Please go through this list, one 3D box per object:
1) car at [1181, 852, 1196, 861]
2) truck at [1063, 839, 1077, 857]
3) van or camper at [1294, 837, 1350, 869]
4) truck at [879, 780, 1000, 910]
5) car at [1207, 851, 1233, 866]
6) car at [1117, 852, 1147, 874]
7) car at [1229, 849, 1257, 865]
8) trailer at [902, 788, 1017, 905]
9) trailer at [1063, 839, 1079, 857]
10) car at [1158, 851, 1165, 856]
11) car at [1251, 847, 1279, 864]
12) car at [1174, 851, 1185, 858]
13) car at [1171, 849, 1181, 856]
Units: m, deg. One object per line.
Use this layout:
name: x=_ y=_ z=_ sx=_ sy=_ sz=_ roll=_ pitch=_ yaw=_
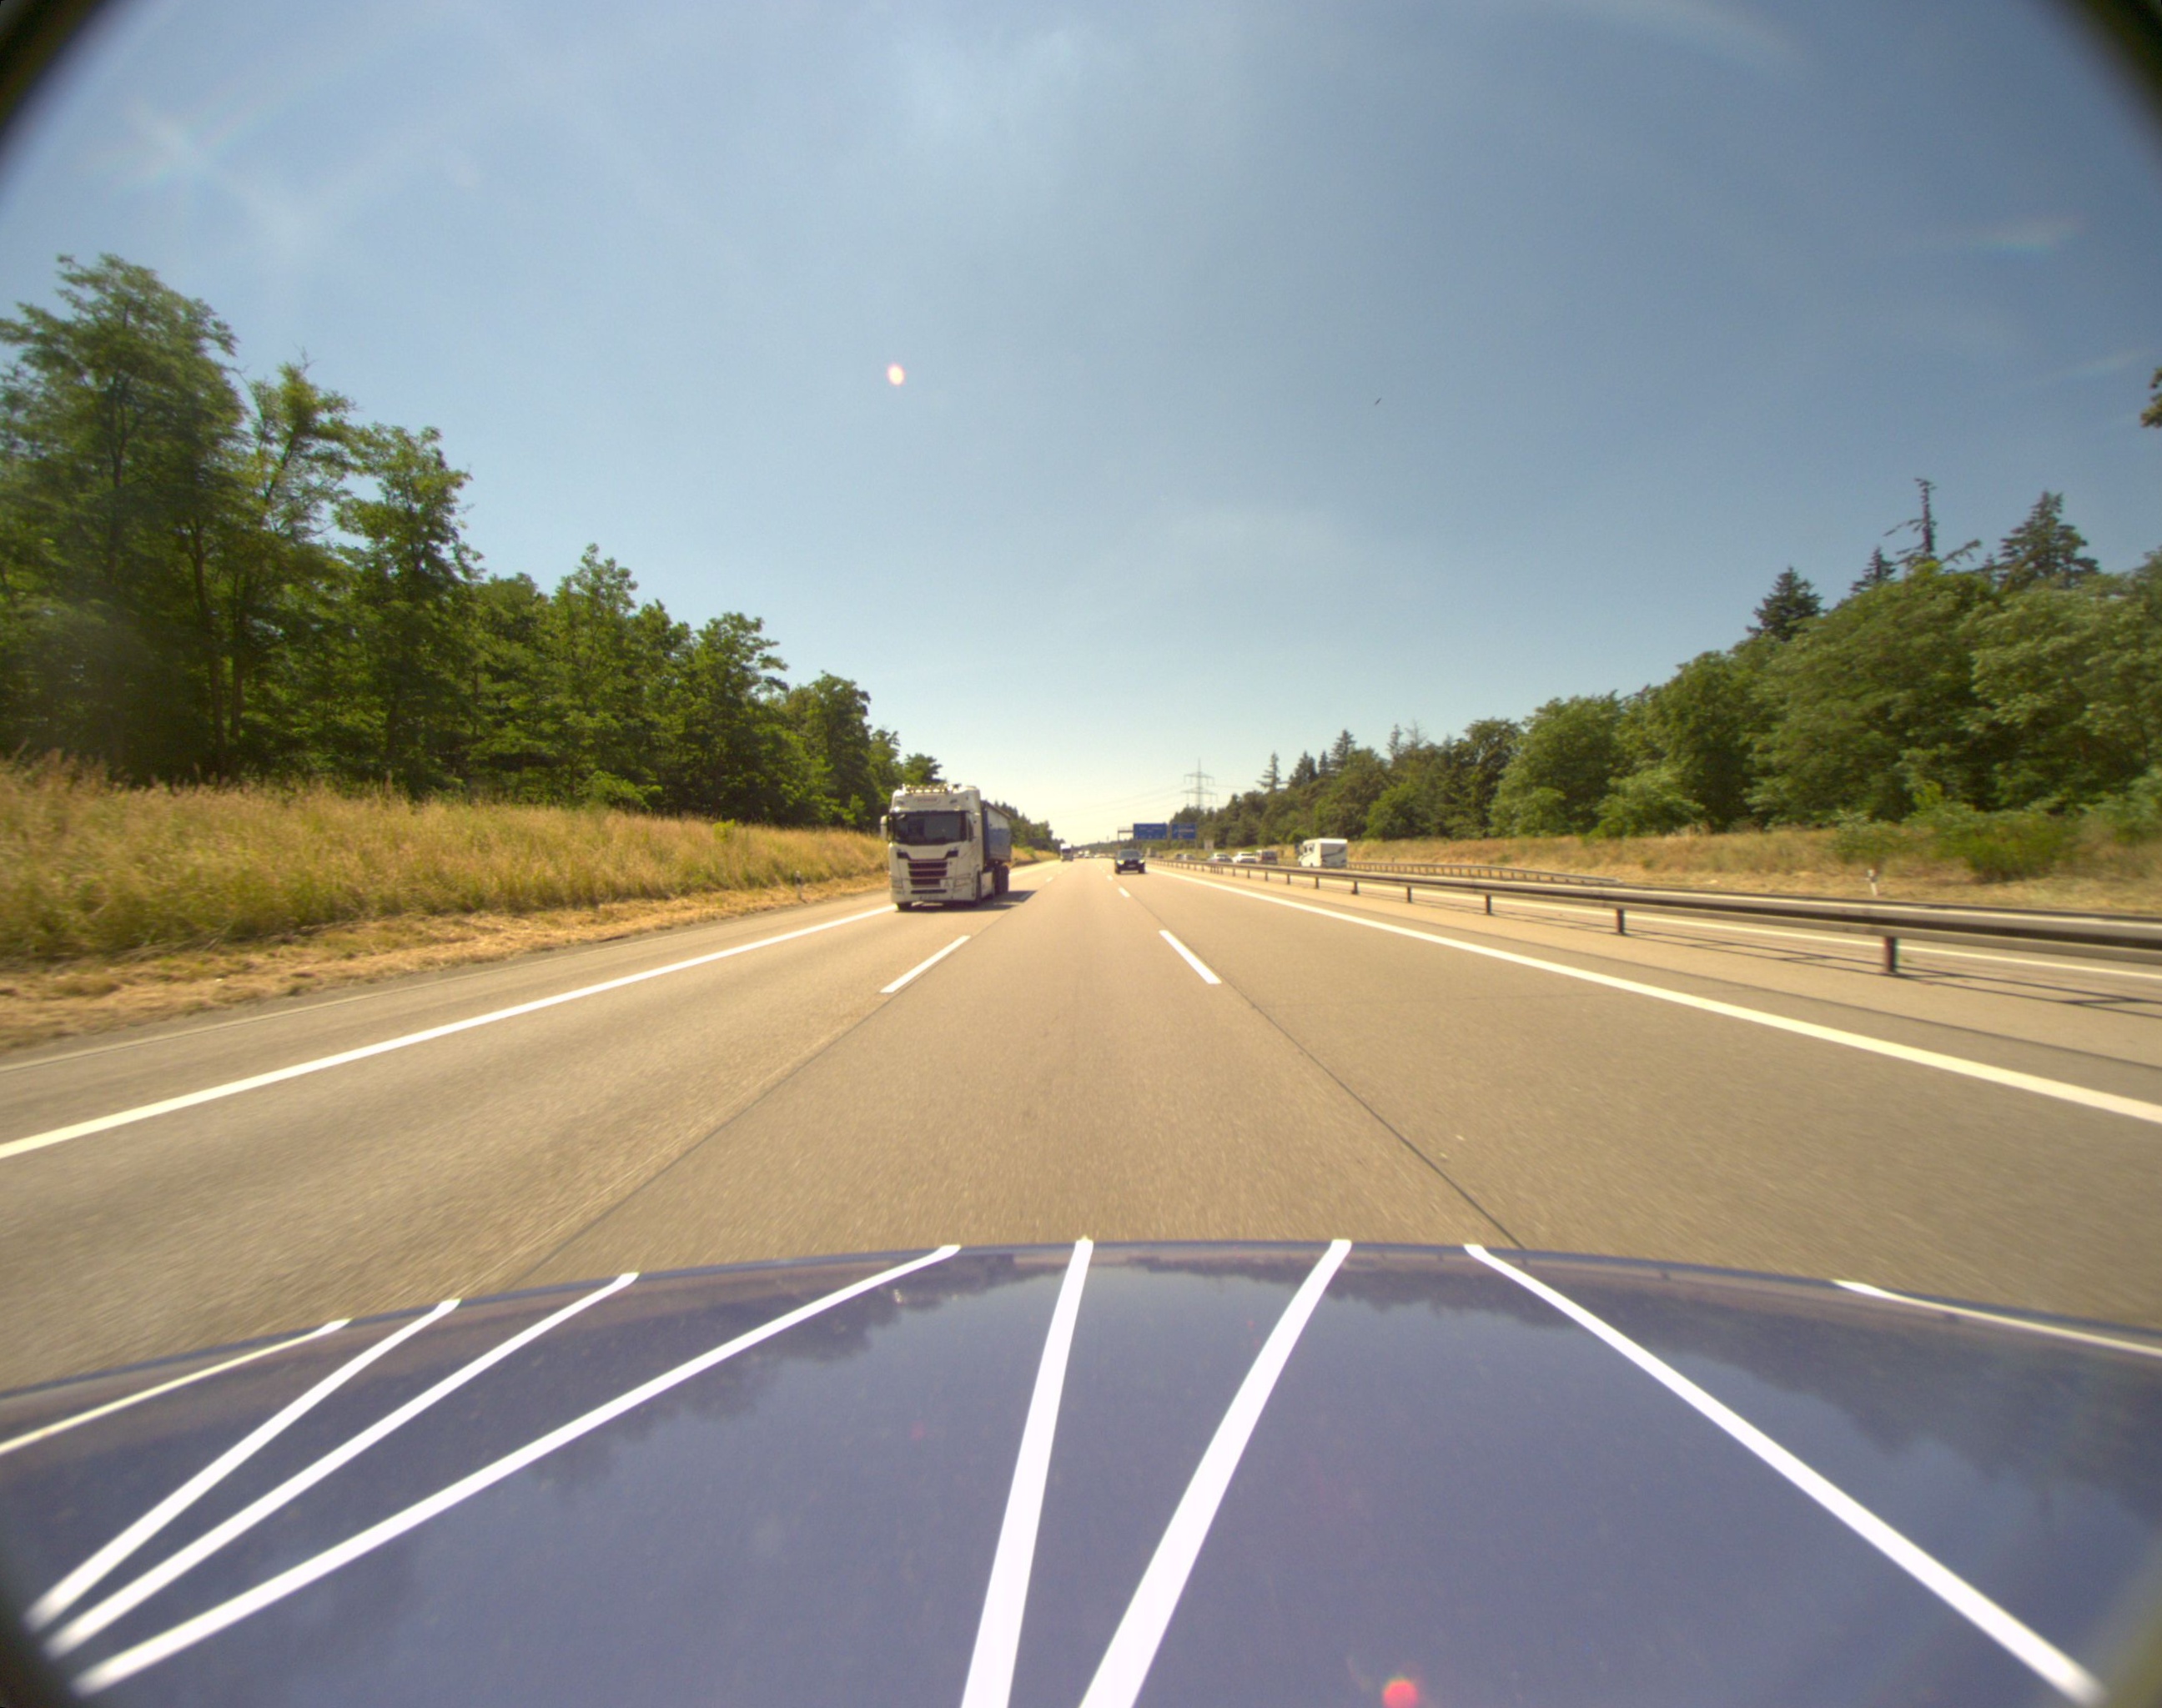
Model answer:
car: x=18.414 y=0.449 z=129.995 sx=1.856 sy=1.518 sz=5.204 roll=0 pitch=0 yaw=1
truck: x=-2.485 y=-1.345 z=173.017 sx=2.979 sy=4.117 sz=5.350 roll=-1 pitch=0 yaw=3
van or camper: x=20.969 y=-0.111 z=66.528 sx=2.468 sy=2.560 sz=7.769 roll=1 pitch=0 yaw=1
truck: x=-4.434 y=-0.238 z=25.142 sx=2.691 sy=3.736 sz=5.944 roll=-1 pitch=0 yaw=1
car: x=13.597 y=0.456 z=74.453 sx=1.841 sy=1.365 sz=4.352 roll=1 pitch=0 yaw=1
car: x=3.601 y=0.616 z=54.265 sx=1.899 sy=1.417 sz=4.261 roll=-2 pitch=0 yaw=0
car: x=17.660 y=0.327 z=82.917 sx=1.998 sy=1.684 sz=5.244 roll=1 pitch=0 yaw=1
trailer: x=-4.367 y=-0.224 z=29.435 sx=2.743 sy=3.736 sz=9.109 roll=-1 pitch=0 yaw=1
trailer: x=-2.251 y=-1.301 z=178.300 sx=2.982 sy=4.117 sz=11.698 roll=-1 pitch=0 yaw=3
car: x=27.265 y=-0.174 z=257.117 sx=1.931 sy=1.454 sz=4.942 roll=-1 pitch=0 yaw=1
car: x=21.787 y=0.112 z=90.088 sx=1.998 sy=1.941 sz=5.244 roll=1 pitch=0 yaw=1
car: x=23.882 y=0.138 z=183.516 sx=1.998 sy=1.694 sz=4.979 roll=1 pitch=0 yaw=0
car: x=25.617 y=-0.362 z=204.586 sx=1.998 sy=1.817 sz=4.642 roll=1 pitch=0 yaw=0
